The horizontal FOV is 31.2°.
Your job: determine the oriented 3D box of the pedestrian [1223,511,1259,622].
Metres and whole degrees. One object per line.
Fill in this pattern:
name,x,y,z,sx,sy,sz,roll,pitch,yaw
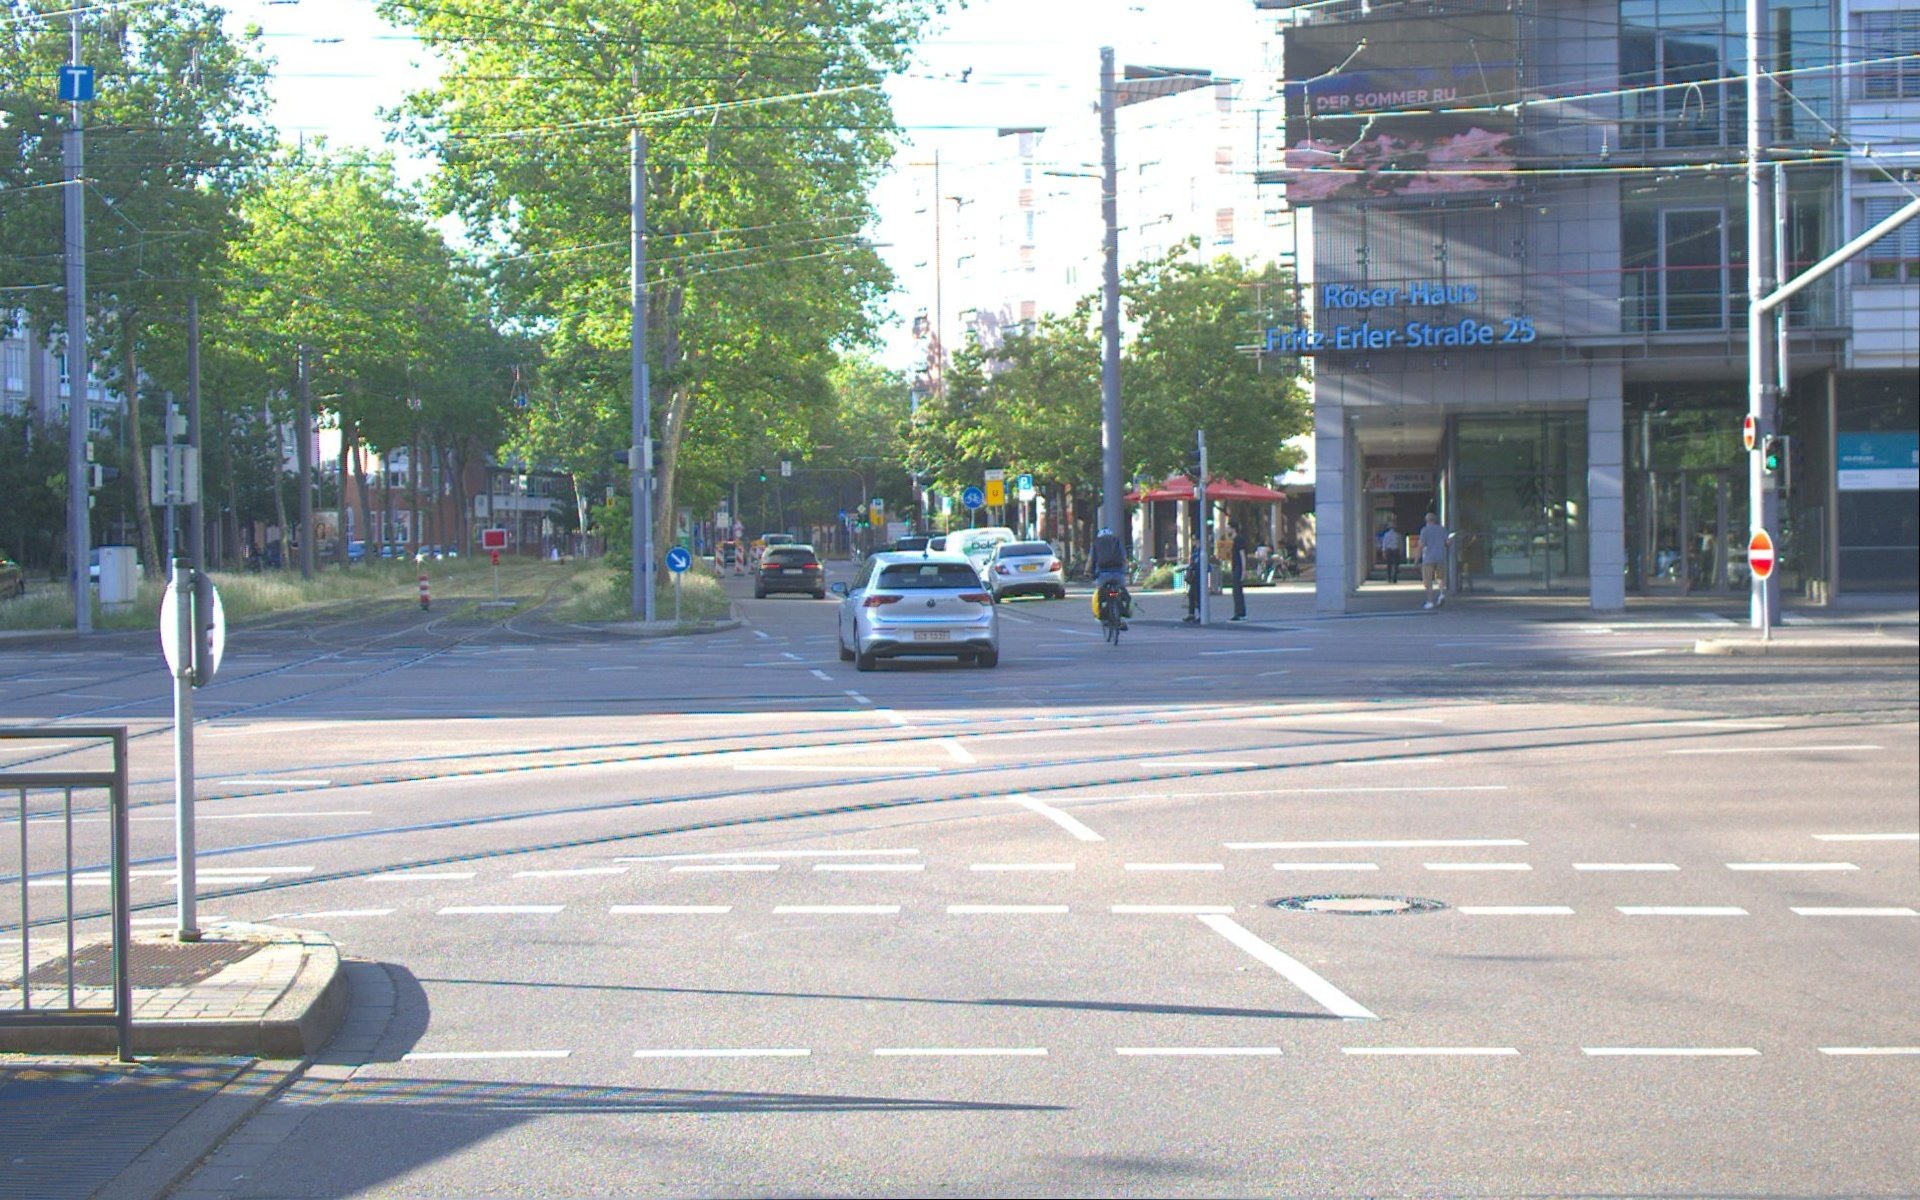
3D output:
pedestrian,5.133,-0.609,62.759,0.586,2.007,0.620,1,0,0

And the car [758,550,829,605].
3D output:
car,-4.447,-0.622,91.291,1.763,1.399,4.297,0,1,-4

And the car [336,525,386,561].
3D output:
car,-33.448,-3.199,192.050,1.876,2.007,4.471,-1,1,2

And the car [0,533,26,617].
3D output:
car,-21.548,-0.543,74.655,1.822,1.784,4.001,-1,1,-7

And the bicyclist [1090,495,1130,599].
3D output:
bicyclist,2.091,-0.744,47.932,0.486,1.434,0.615,1,1,-1

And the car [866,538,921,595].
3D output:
car,-2.442,-1.236,126.750,1.993,2.007,4.000,1,1,-1

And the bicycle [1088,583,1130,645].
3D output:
bicycle,2.079,0.185,48.100,0.490,0.785,1.862,0,2,-1

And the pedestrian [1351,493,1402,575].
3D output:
pedestrian,11.229,-1.768,92.696,1.313,2.182,1.170,1,0,6

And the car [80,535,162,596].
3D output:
car,-22.925,-0.949,94.052,1.676,1.601,4.001,1,1,-6

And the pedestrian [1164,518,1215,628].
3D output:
pedestrian,4.252,-0.503,63.671,0.849,2.007,0.708,1,0,-1

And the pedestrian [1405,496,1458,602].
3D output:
pedestrian,8.980,-0.966,65.557,0.869,2.007,0.794,1,-1,-1

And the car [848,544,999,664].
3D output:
car,-0.418,0.012,43.107,1.748,1.413,4.000,0,1,1

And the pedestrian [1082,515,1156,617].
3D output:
pedestrian,3.044,-0.650,66.040,1.342,1.944,1.011,-1,0,-1

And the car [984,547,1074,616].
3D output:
car,1.632,-0.460,82.856,2.029,1.590,4.000,1,1,-1

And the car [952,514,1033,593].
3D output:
car,0.820,-1.204,89.780,1.993,2.007,4.000,1,1,-1

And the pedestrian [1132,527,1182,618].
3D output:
pedestrian,3.724,-0.520,64.974,0.869,1.702,0.794,1,0,-1

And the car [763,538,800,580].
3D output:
car,-10.781,-2.479,208.083,1.993,2.007,3.998,1,-7,1
